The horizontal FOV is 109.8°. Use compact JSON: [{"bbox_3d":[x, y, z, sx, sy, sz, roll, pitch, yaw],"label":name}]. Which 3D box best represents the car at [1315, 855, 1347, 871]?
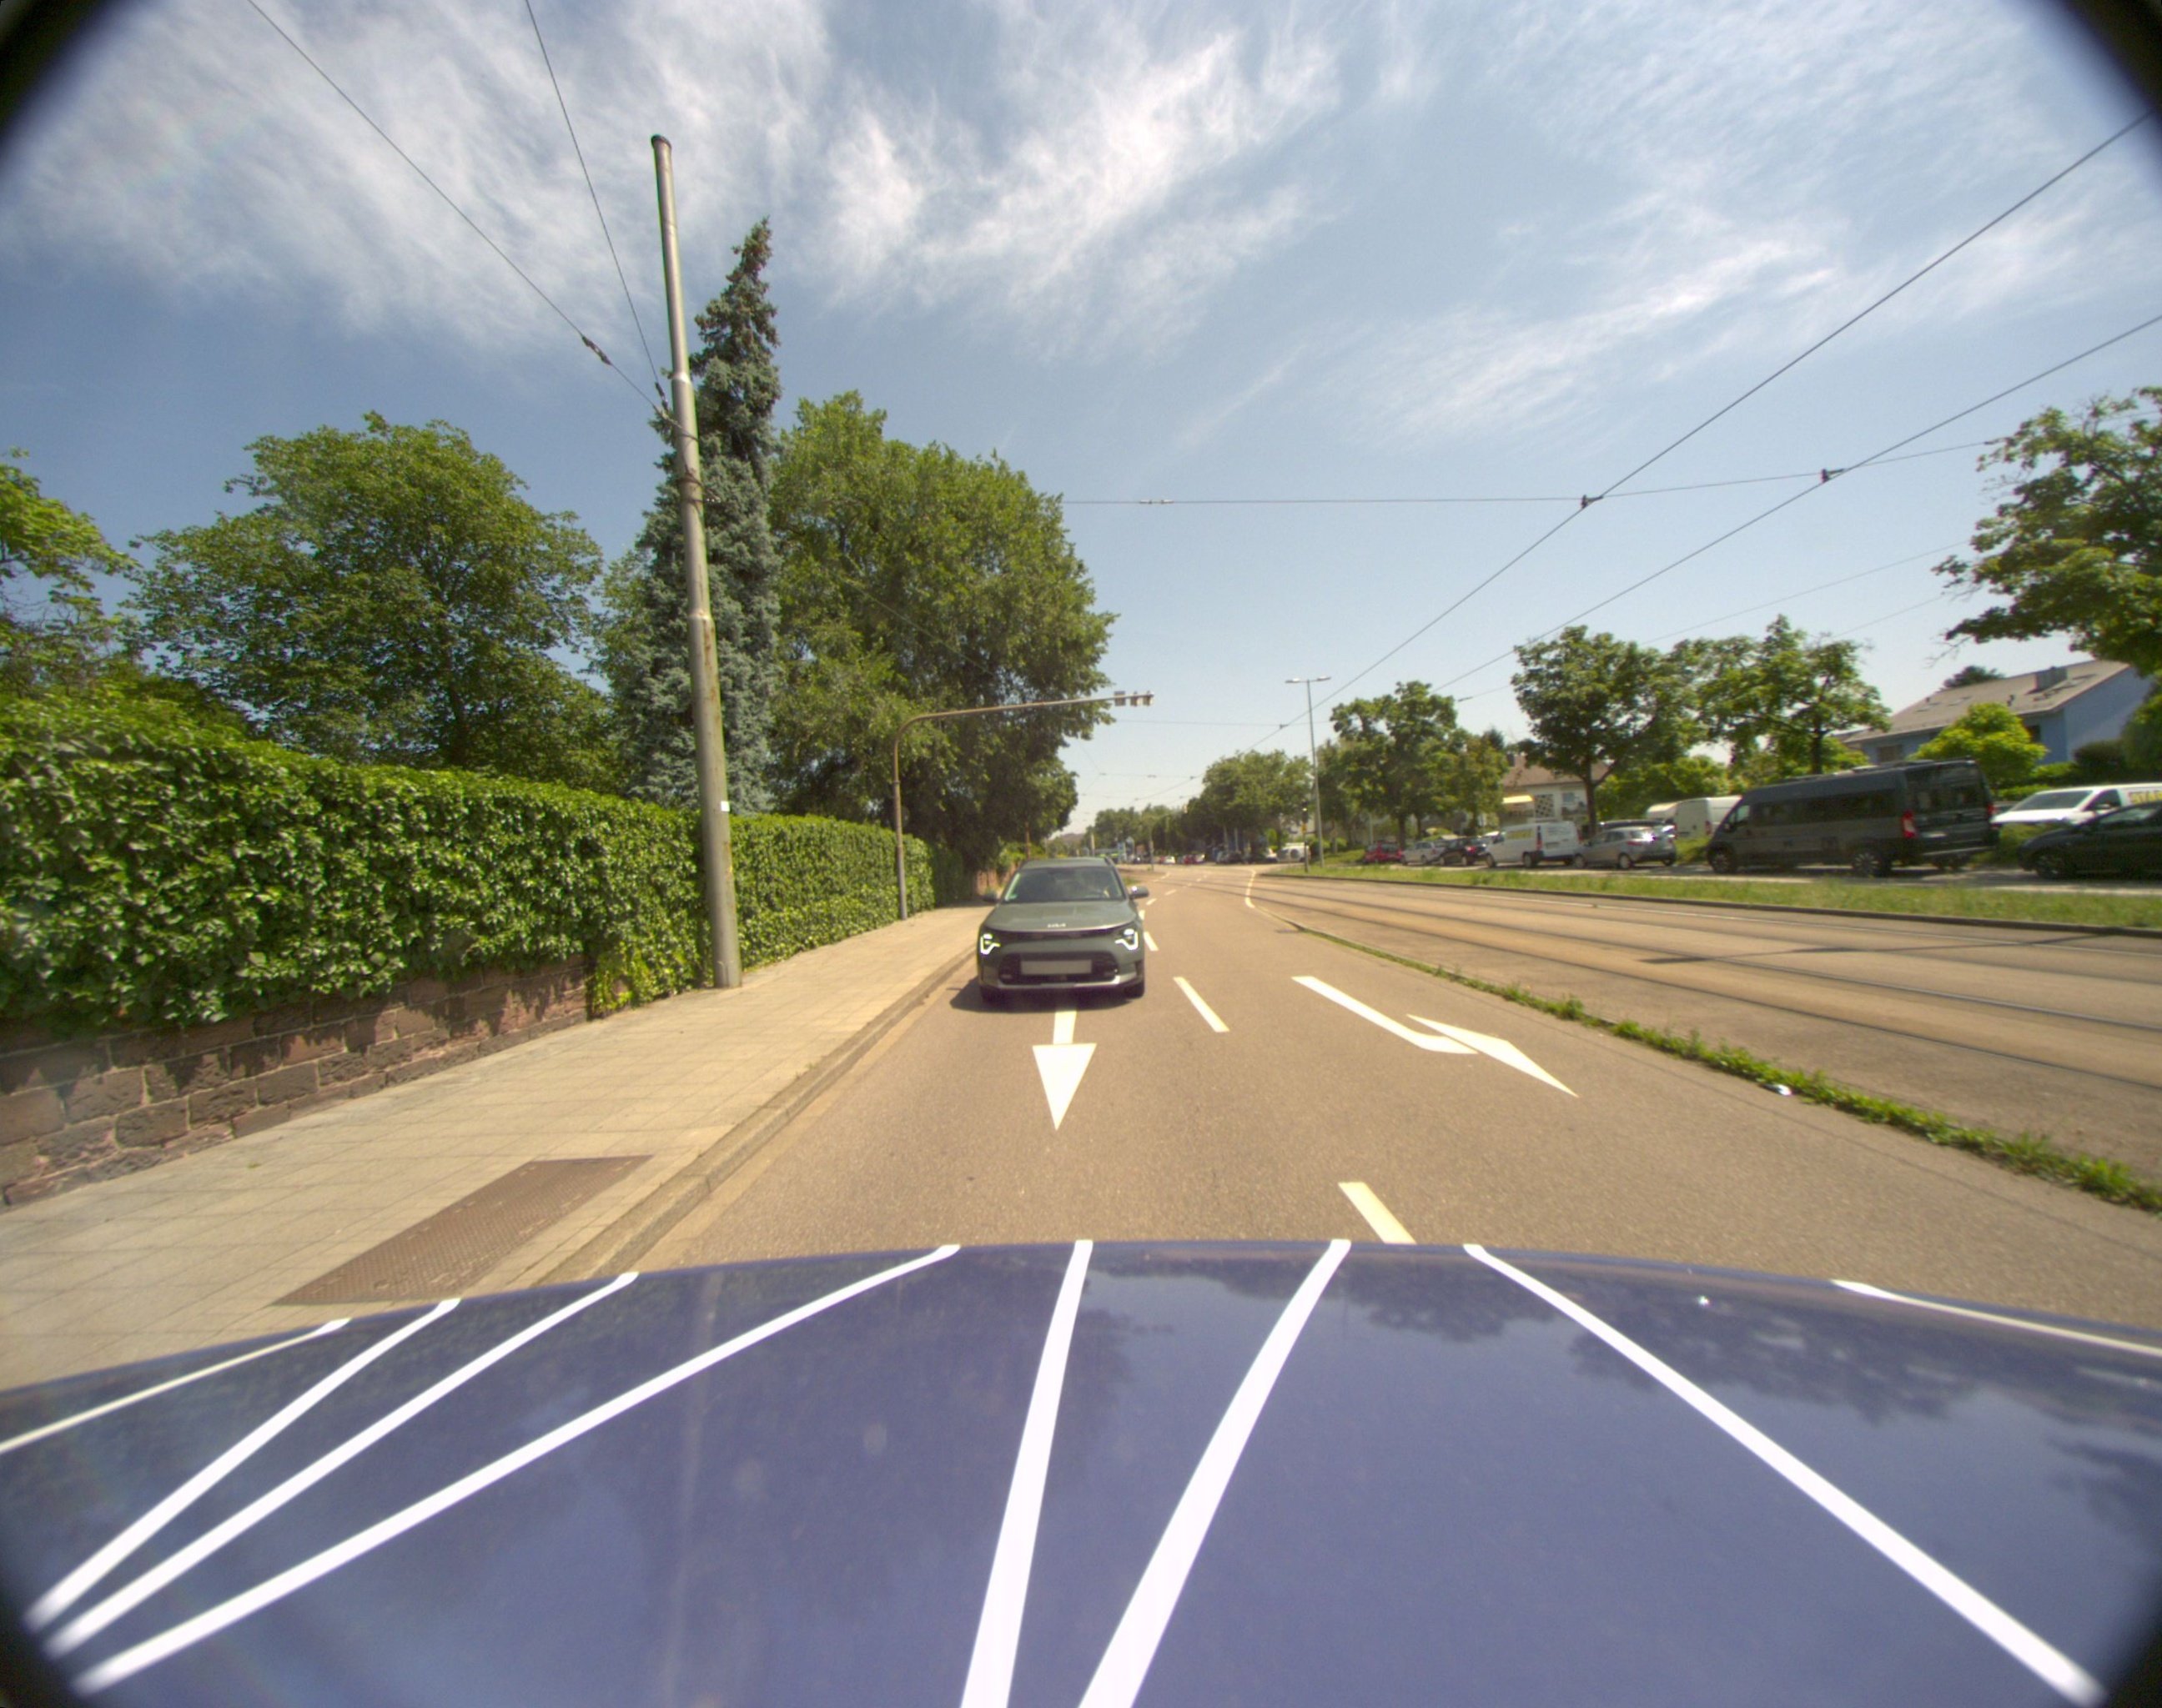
[{"bbox_3d":[20.541,0.715,62.503,1.582,1.152,3.423,-3,1,2],"label":"car"}]

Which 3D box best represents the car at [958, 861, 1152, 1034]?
[{"bbox_3d":[-0.282,0.944,9.642,1.824,1.577,4.287,-3,0,-1],"label":"car"}]

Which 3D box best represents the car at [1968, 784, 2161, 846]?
[{"bbox_3d":[30.673,-1.210,23.202,4.926,1.567,2.000,-4,0,-2],"label":"car"}]

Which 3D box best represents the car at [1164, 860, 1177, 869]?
[{"bbox_3d":[15.045,1.782,128.096,1.780,1.310,3.755,-3,1,2],"label":"car"}]

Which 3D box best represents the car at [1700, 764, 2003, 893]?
[{"bbox_3d":[19.726,-0.607,20.003,2.244,2.821,5.667,-3,1,1],"label":"car"}]

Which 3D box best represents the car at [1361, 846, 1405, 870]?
[{"bbox_3d":[20.022,0.227,50.472,1.582,1.471,3.423,-3,1,2],"label":"car"}]

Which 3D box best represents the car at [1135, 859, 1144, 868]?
[{"bbox_3d":[13.540,2.147,176.623,1.780,1.907,3.755,-3,1,2],"label":"car"}]

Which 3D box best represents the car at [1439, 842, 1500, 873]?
[{"bbox_3d":[19.949,0.178,39.137,1.429,1.470,3.262,-3,1,0],"label":"car"}]

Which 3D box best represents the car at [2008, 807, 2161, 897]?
[{"bbox_3d":[19.845,-0.072,13.575,1.976,1.568,3.752,-3,1,1],"label":"car"}]

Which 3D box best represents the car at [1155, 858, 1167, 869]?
[{"bbox_3d":[14.941,1.695,142.077,1.780,1.907,3.755,-3,1,2],"label":"car"}]

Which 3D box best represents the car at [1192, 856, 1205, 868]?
[{"bbox_3d":[19.698,1.255,127.453,1.703,1.842,3.983,-3,1,2],"label":"car"}]

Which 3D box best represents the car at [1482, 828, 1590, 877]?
[{"bbox_3d":[19.996,-0.096,33.671,1.924,1.937,4.817,-3,1,2],"label":"car"}]

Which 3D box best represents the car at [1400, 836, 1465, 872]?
[{"bbox_3d":[20.207,-0.027,43.944,1.635,1.882,4.496,-3,1,0],"label":"car"}]

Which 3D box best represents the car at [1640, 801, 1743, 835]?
[{"bbox_3d":[43.658,-2.566,54.434,5.744,2.051,2.147,-3,1,-2],"label":"car"}]

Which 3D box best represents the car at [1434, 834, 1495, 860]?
[{"bbox_3d":[30.600,-0.557,60.699,3.999,1.863,1.715,-3,1,-6],"label":"car"}]

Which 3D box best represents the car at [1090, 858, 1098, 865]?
[{"bbox_3d":[4.303,2.553,253.255,1.999,2.002,3.998,-3,1,-4],"label":"car"}]

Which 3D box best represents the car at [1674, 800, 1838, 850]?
[{"bbox_3d":[30.163,-1.258,34.075,5.434,1.944,2.029,-3,1,2],"label":"car"}]

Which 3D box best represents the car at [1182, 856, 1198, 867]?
[{"bbox_3d":[15.167,1.040,105.801,1.820,1.471,3.423,-3,1,2],"label":"car"}]

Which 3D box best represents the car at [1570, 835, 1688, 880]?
[{"bbox_3d":[20.028,0.101,27.944,1.767,1.456,3.608,-3,1,2],"label":"car"}]

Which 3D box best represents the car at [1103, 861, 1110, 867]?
[{"bbox_3d":[7.554,3.054,227.744,1.759,1.543,3.999,-4,0,-2],"label":"car"}]

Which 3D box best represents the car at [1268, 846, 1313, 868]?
[{"bbox_3d":[20.983,0.296,76.223,4.206,1.979,1.823,-2,1,15],"label":"car"}]

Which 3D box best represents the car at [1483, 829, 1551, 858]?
[{"bbox_3d":[31.870,-0.757,55.578,3.999,1.863,1.715,-3,1,-6],"label":"car"}]
